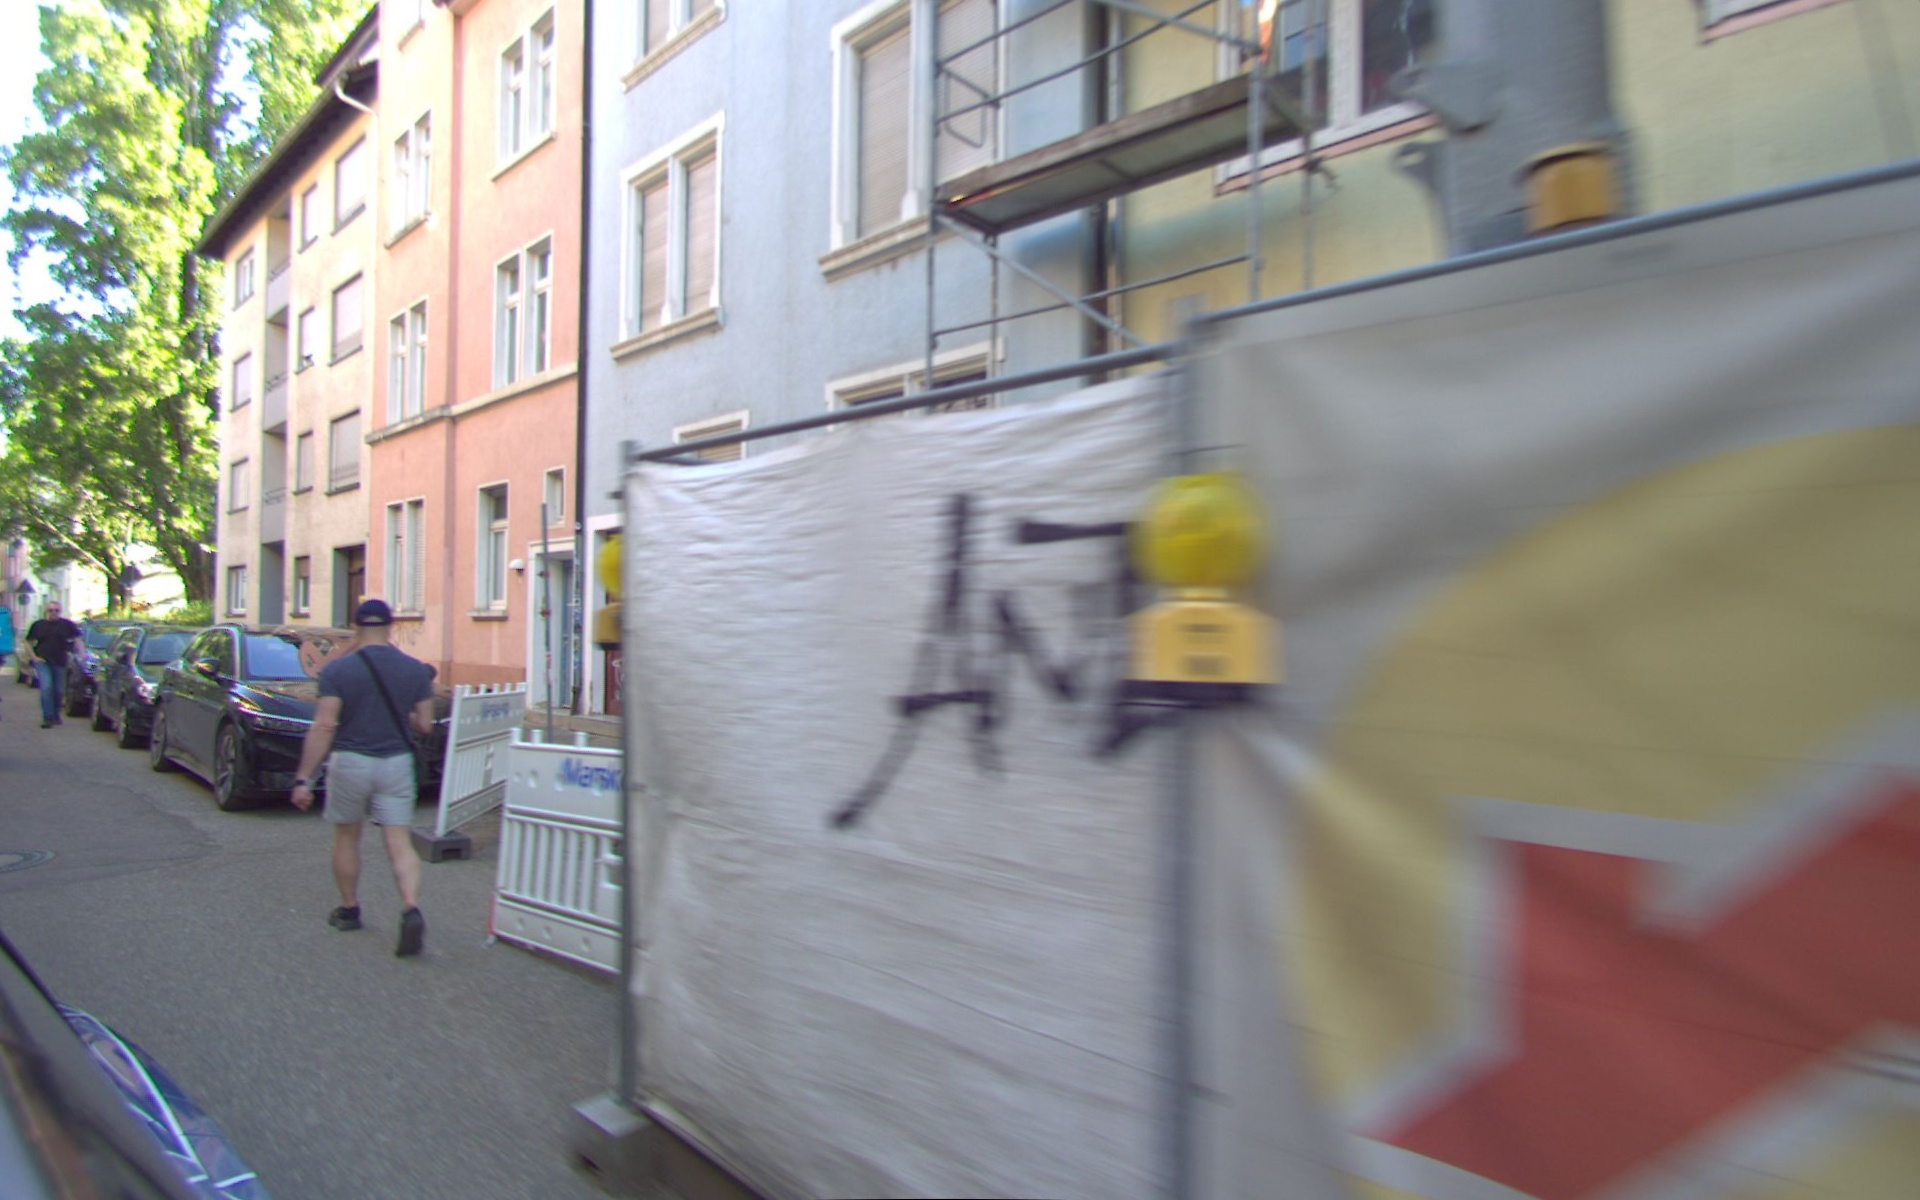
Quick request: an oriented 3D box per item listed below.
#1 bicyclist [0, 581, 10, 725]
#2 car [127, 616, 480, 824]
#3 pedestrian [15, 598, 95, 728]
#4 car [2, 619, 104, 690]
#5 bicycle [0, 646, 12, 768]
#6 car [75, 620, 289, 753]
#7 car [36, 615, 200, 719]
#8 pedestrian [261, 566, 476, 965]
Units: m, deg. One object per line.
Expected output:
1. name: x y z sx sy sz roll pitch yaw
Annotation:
1. bicyclist: -10.168 0.641 10.228 0.892 1.690 0.658 -1 -4 41
2. car: -6.453 0.948 9.694 4.697 1.520 1.747 -1 -3 43
3. pedestrian: -12.832 0.865 14.347 0.998 1.767 0.730 -1 -2 44
4. car: -21.329 1.255 23.758 3.660 1.533 1.444 -2 -3 43
5. bicycle: -10.198 1.040 10.217 1.845 1.166 0.679 -1 -3 41
6. car: -10.385 1.023 13.406 4.000 1.503 1.624 -1 -2 43
7. car: -14.544 1.076 17.393 4.249 1.586 1.624 -1 -3 43
8. pedestrian: -2.767 0.706 4.729 0.813 1.656 0.586 -1 -4 43
